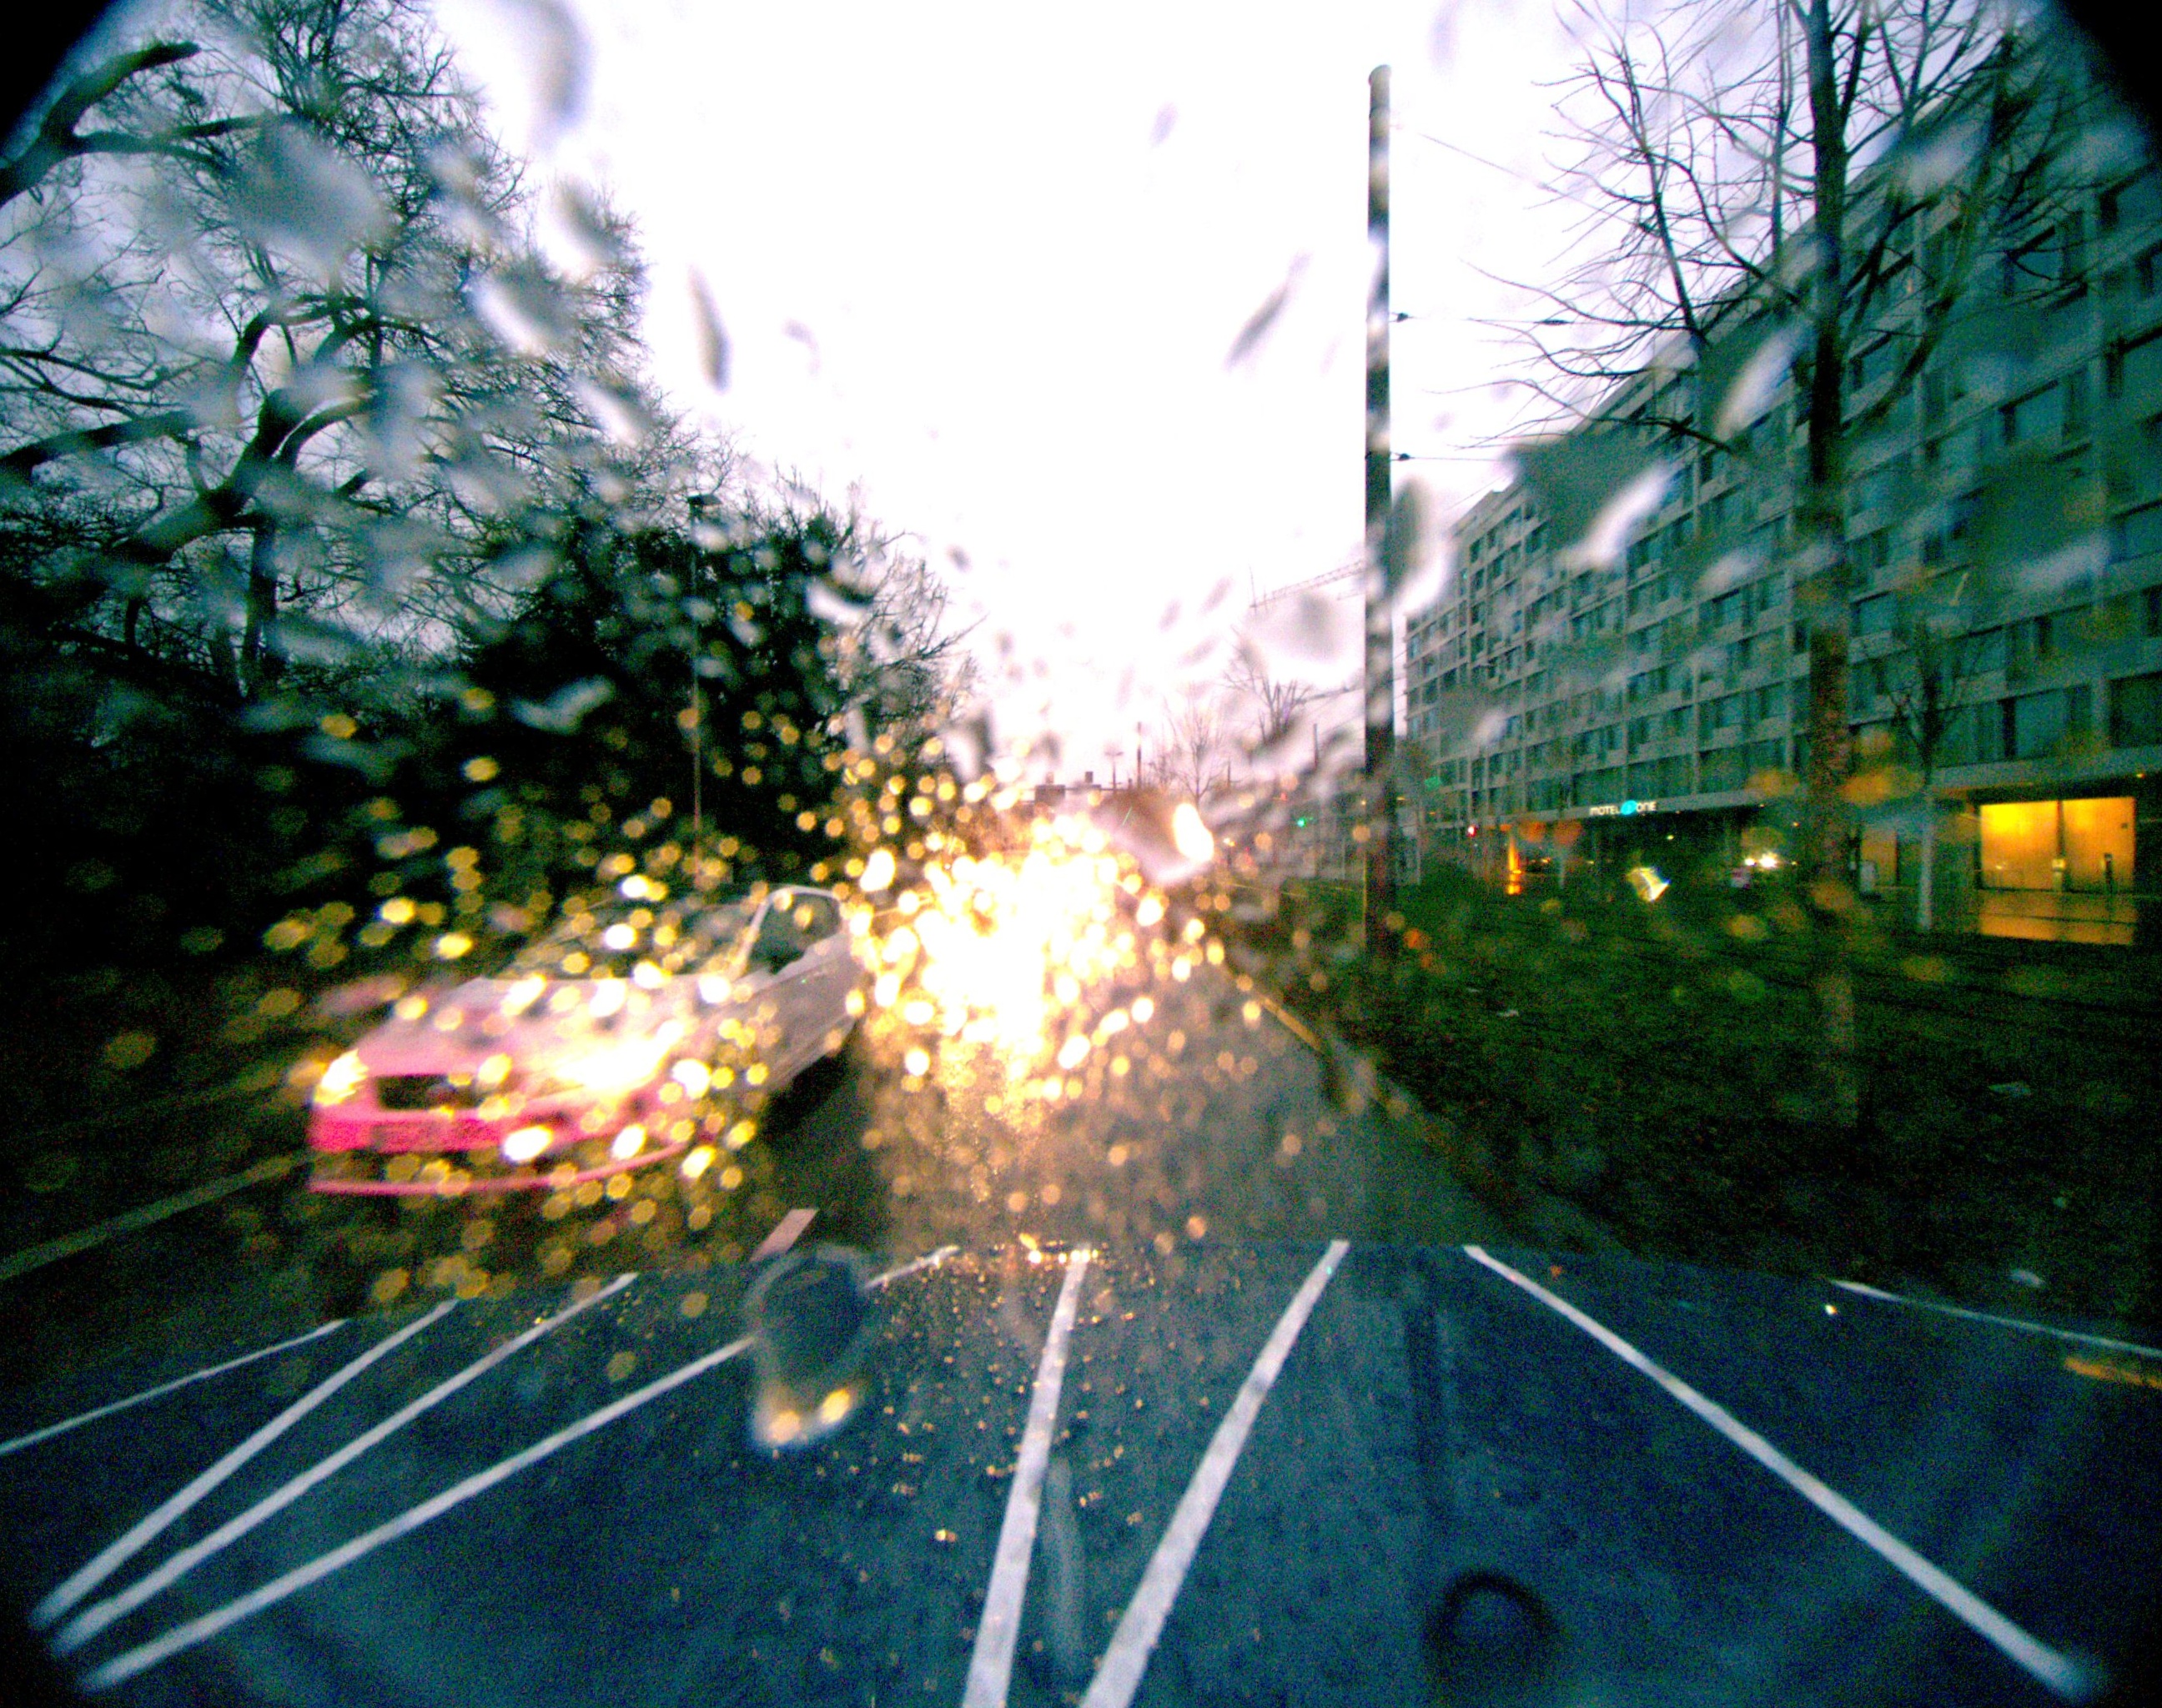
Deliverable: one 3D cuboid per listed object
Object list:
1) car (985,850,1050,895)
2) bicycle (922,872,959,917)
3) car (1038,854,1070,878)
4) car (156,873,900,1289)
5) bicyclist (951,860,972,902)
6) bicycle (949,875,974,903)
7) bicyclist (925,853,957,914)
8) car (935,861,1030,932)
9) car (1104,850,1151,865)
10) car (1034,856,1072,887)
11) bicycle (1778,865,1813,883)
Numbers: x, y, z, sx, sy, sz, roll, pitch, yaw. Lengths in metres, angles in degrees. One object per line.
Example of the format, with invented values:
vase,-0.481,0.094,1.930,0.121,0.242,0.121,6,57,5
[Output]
car,-2.458,0.677,30.523,2.073,1.618,4.268,-2,1,1
bicycle,-5.191,1.459,28.337,0.968,1.442,3.388,-2,1,-5
car,-1.943,0.809,53.570,1.999,1.618,4.266,-1,0,-5
car,-2.703,0.961,5.111,1.886,1.552,4.171,0,0,1
bicyclist,-4.933,1.102,31.375,0.691,1.675,0.593,-2,1,1
bicycle,-4.926,1.422,31.375,0.691,1.036,1.721,-2,1,1
bicyclist,-5.215,1.087,28.337,0.968,2.210,0.934,-2,1,-5
car,-2.593,1.089,21.086,2.073,1.618,4.267,-2,1,-1
car,5.471,0.395,89.655,5.045,1.659,2.086,0,0,-14
car,-1.601,0.999,44.839,1.998,1.618,4.268,-2,1,1
bicycle,36.313,1.008,38.636,1.349,0.849,0.465,-2,1,-1
